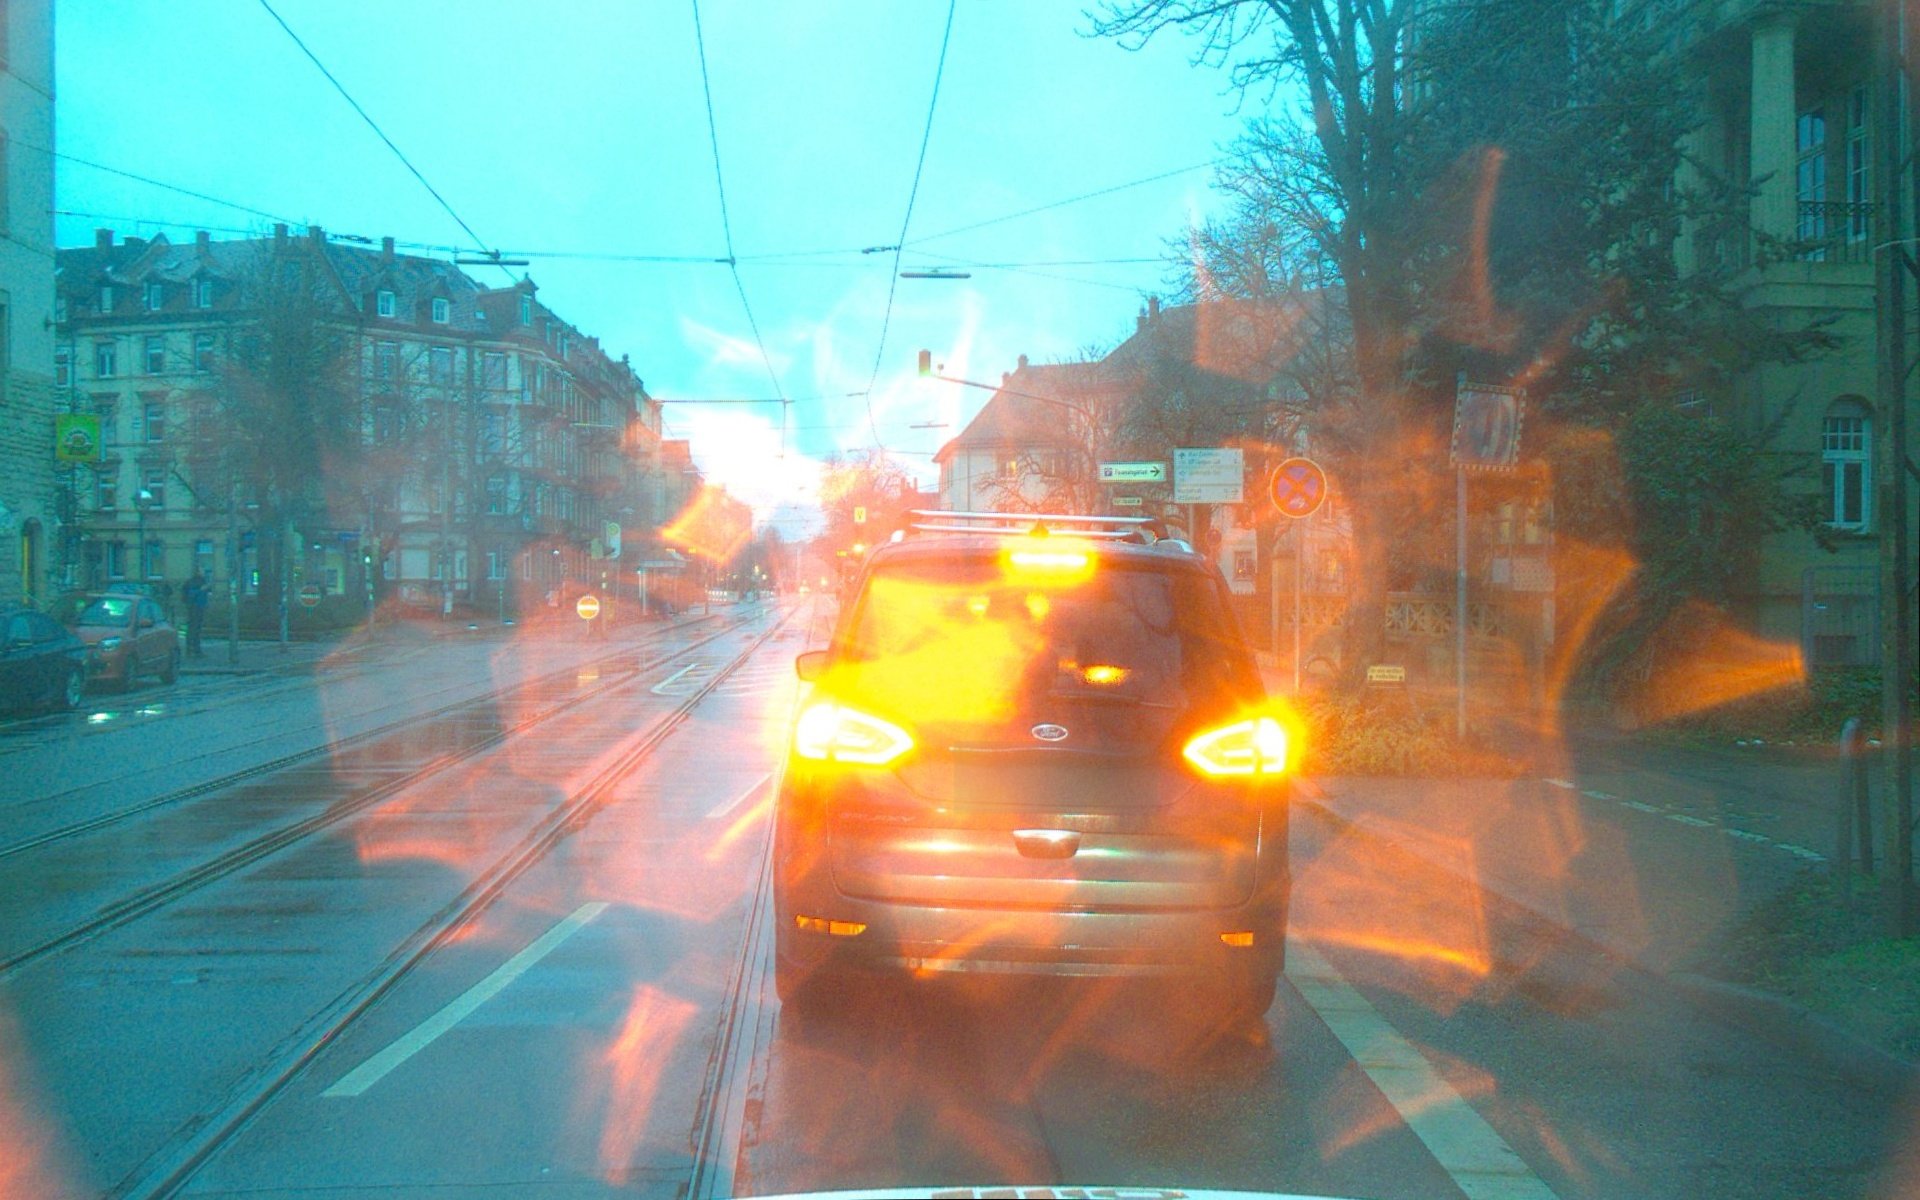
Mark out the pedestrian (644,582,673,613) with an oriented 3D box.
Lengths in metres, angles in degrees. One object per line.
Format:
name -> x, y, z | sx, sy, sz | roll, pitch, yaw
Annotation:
pedestrian -> -12.339, -0.096, 67.730 | 1.027, 1.221, 0.884 | 1, 0, -4

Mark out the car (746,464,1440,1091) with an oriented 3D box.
car -> 0.319, 0.529, 7.333 | 2.061, 1.848, 4.658 | 2, 0, -2

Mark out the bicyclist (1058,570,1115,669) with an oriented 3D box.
bicyclist -> 2.227, 0.334, 29.227 | 0.703, 1.691, 1.054 | 4, 0, -9

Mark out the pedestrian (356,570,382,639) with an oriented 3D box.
pedestrian -> -17.752, 0.118, 49.700 | 0.695, 2.049, 0.656 | 0, 0, -24

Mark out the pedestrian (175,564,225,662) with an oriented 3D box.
pedestrian -> -16.157, 0.278, 35.154 | 0.742, 2.049, 0.646 | 0, -1, 32

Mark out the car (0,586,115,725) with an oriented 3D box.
car -> -13.114, 0.667, 21.754 | 1.949, 1.674, 4.624 | 5, -1, -7

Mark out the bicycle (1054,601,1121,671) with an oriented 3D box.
bicycle -> 2.238, 0.621, 29.258 | 0.703, 1.131, 1.938 | 4, 0, -9

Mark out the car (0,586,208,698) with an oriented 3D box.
car -> -14.276, 0.644, 27.678 | 2.000, 1.578, 4.023 | 4, 0, -9
